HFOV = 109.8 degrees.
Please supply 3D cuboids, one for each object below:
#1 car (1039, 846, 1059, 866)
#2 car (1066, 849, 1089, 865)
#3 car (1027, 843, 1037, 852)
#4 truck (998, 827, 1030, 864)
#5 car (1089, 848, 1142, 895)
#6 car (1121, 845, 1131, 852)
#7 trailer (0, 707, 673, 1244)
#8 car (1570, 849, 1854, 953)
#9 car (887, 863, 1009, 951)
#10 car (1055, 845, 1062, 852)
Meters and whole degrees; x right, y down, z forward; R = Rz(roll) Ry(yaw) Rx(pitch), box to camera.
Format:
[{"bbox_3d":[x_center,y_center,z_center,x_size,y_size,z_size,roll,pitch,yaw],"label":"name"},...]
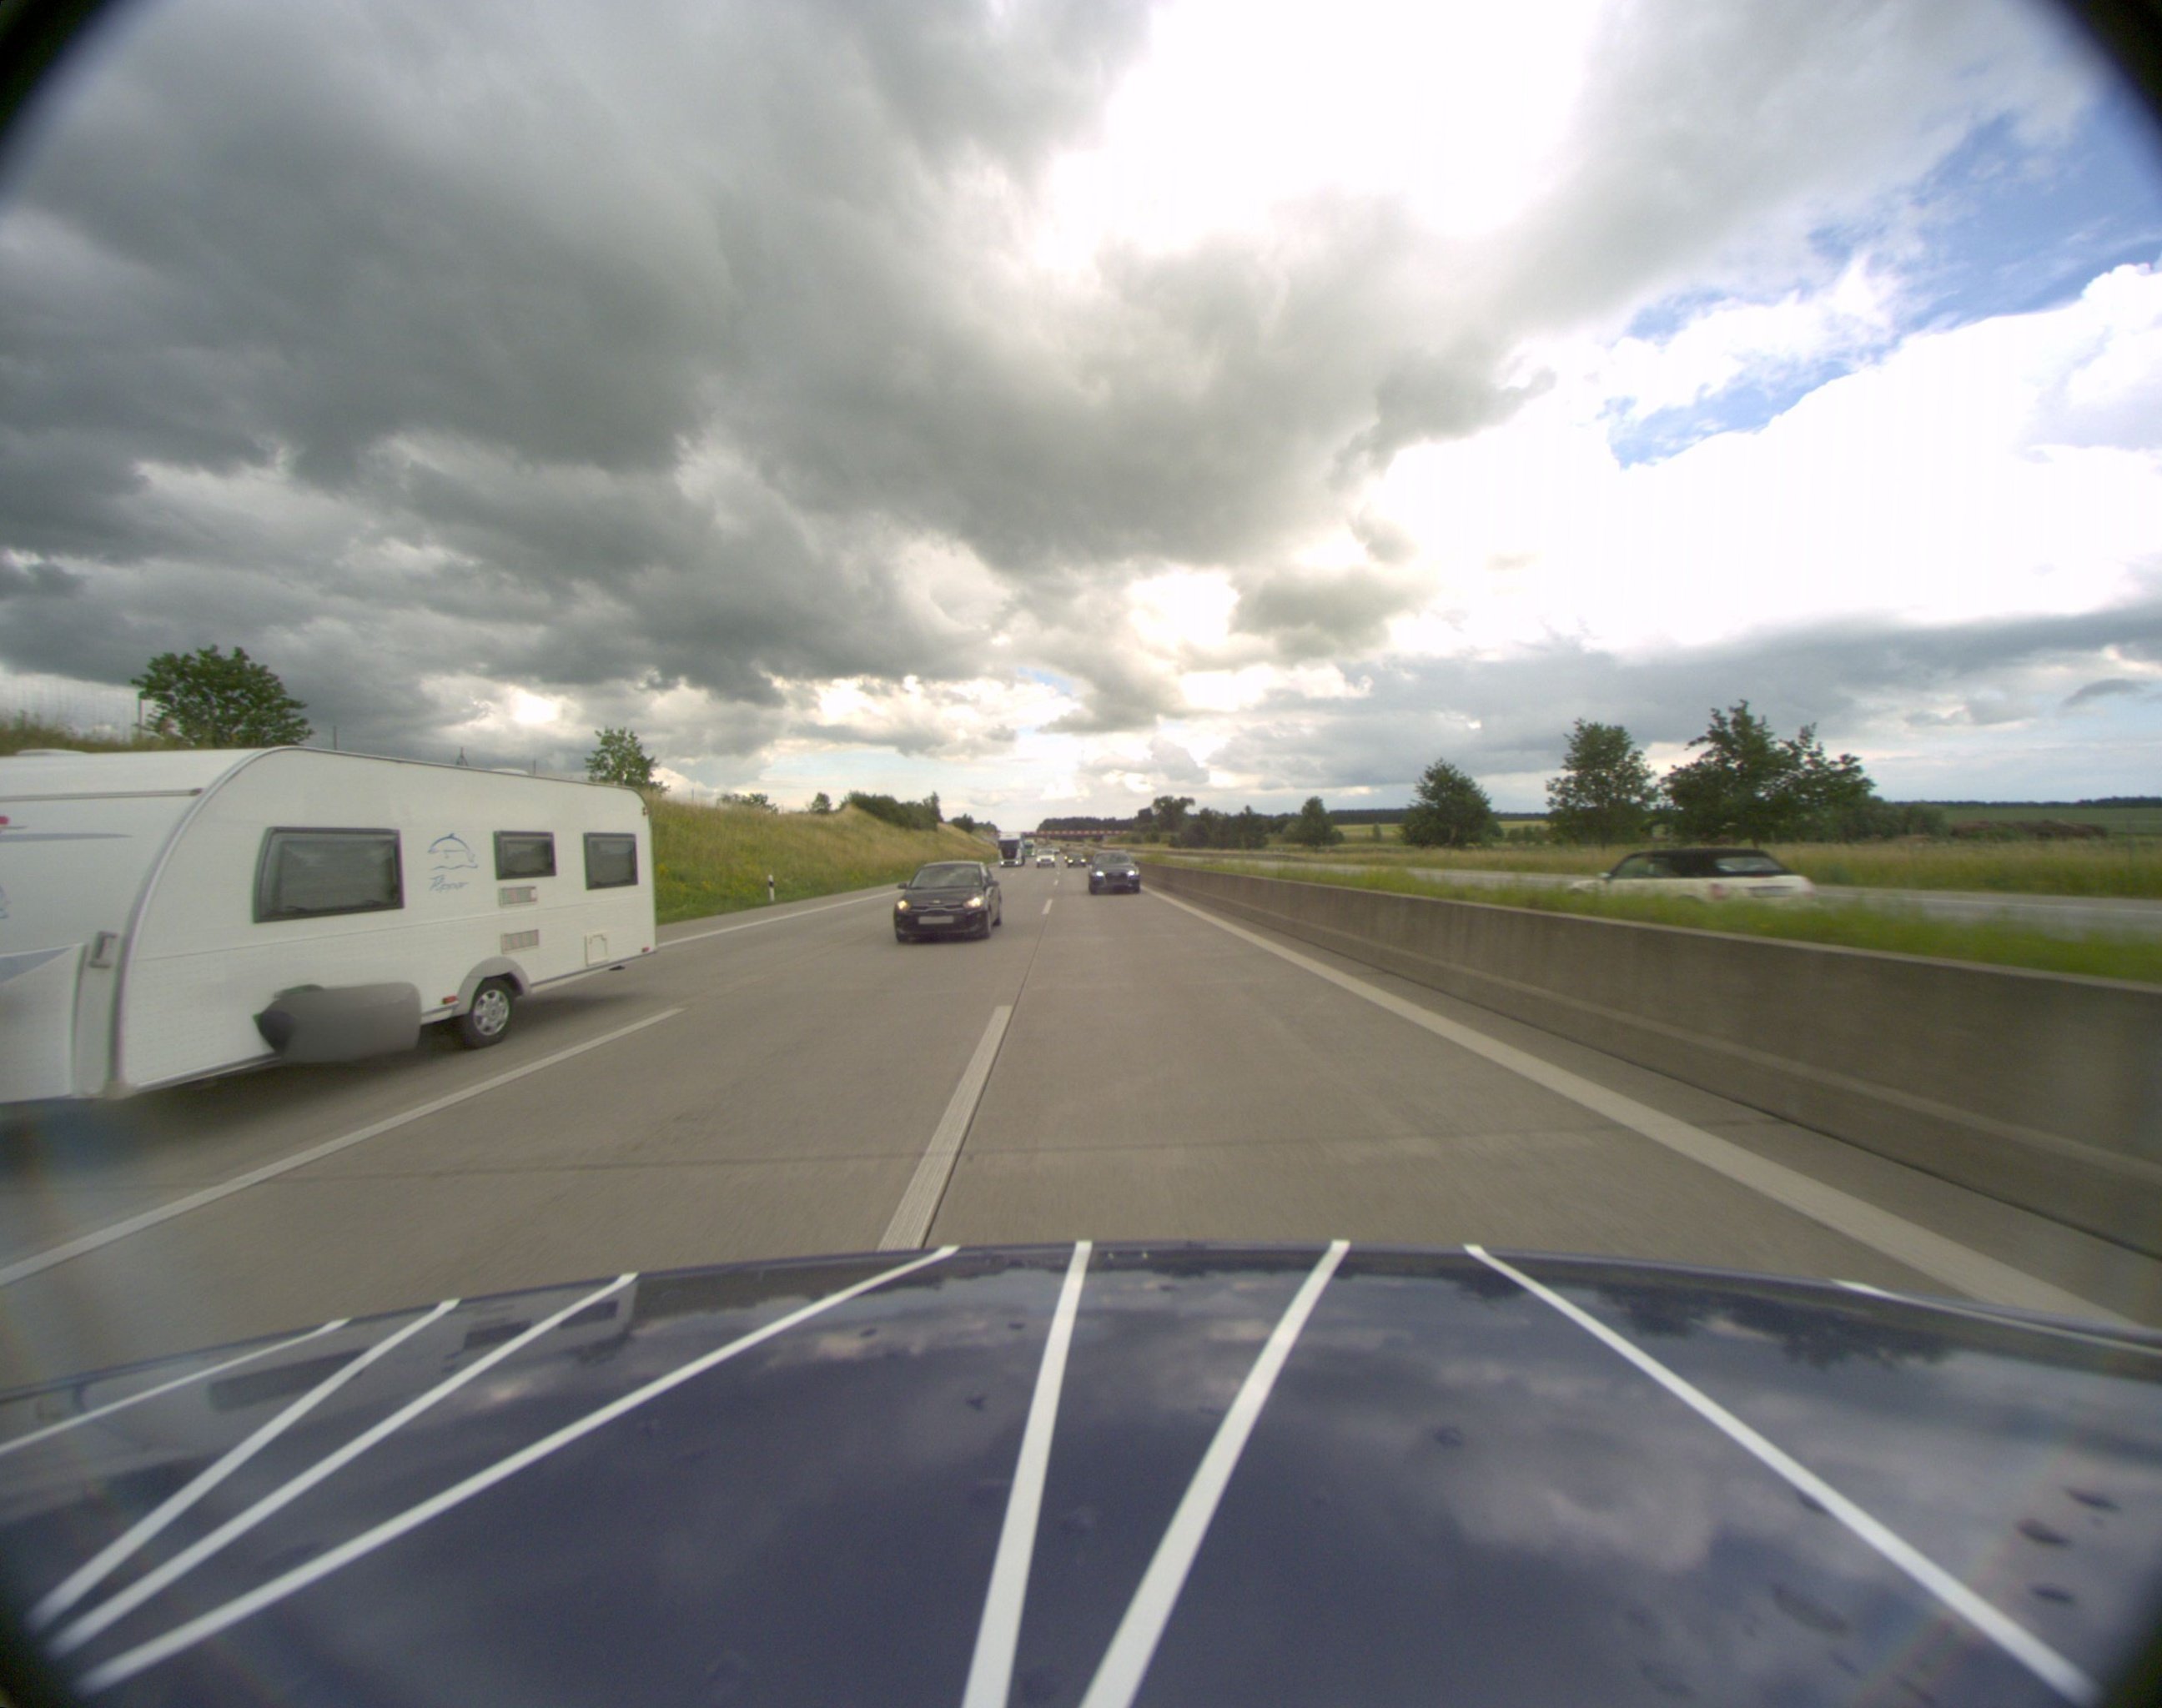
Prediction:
[{"bbox_3d":[-3.449,0.161,81.090,1.999,2.002,3.999,-2,0,-3],"label":"car"},{"bbox_3d":[-0.320,0.297,76.711,1.939,1.464,4.001,-2,0,5],"label":"car"},{"bbox_3d":[-11.887,-1.587,185.131,2.358,2.002,4.810,-3,1,-3],"label":"car"},{"bbox_3d":[-8.066,-0.952,92.463,2.855,4.176,10.708,-2,0,-1],"label":"truck"},{"bbox_3d":[1.361,0.605,29.512,1.797,1.587,5.158,-2,0,3],"label":"car"},{"bbox_3d":[9.168,-1.164,154.369,1.646,1.365,4.097,-2,1,0],"label":"car"},{"bbox_3d":[-6.428,0.574,6.106,2.615,2.519,6.720,-2,1,-1],"label":"trailer"},{"bbox_3d":[9.606,0.625,11.954,1.571,1.344,3.472,-2,0,0],"label":"car"},{"bbox_3d":[-2.532,0.966,15.396,1.691,1.405,3.999,-2,1,1],"label":"car"},{"bbox_3d":[-6.137,-1.475,209.665,1.999,2.002,3.999,-1,1,-2],"label":"car"}]
